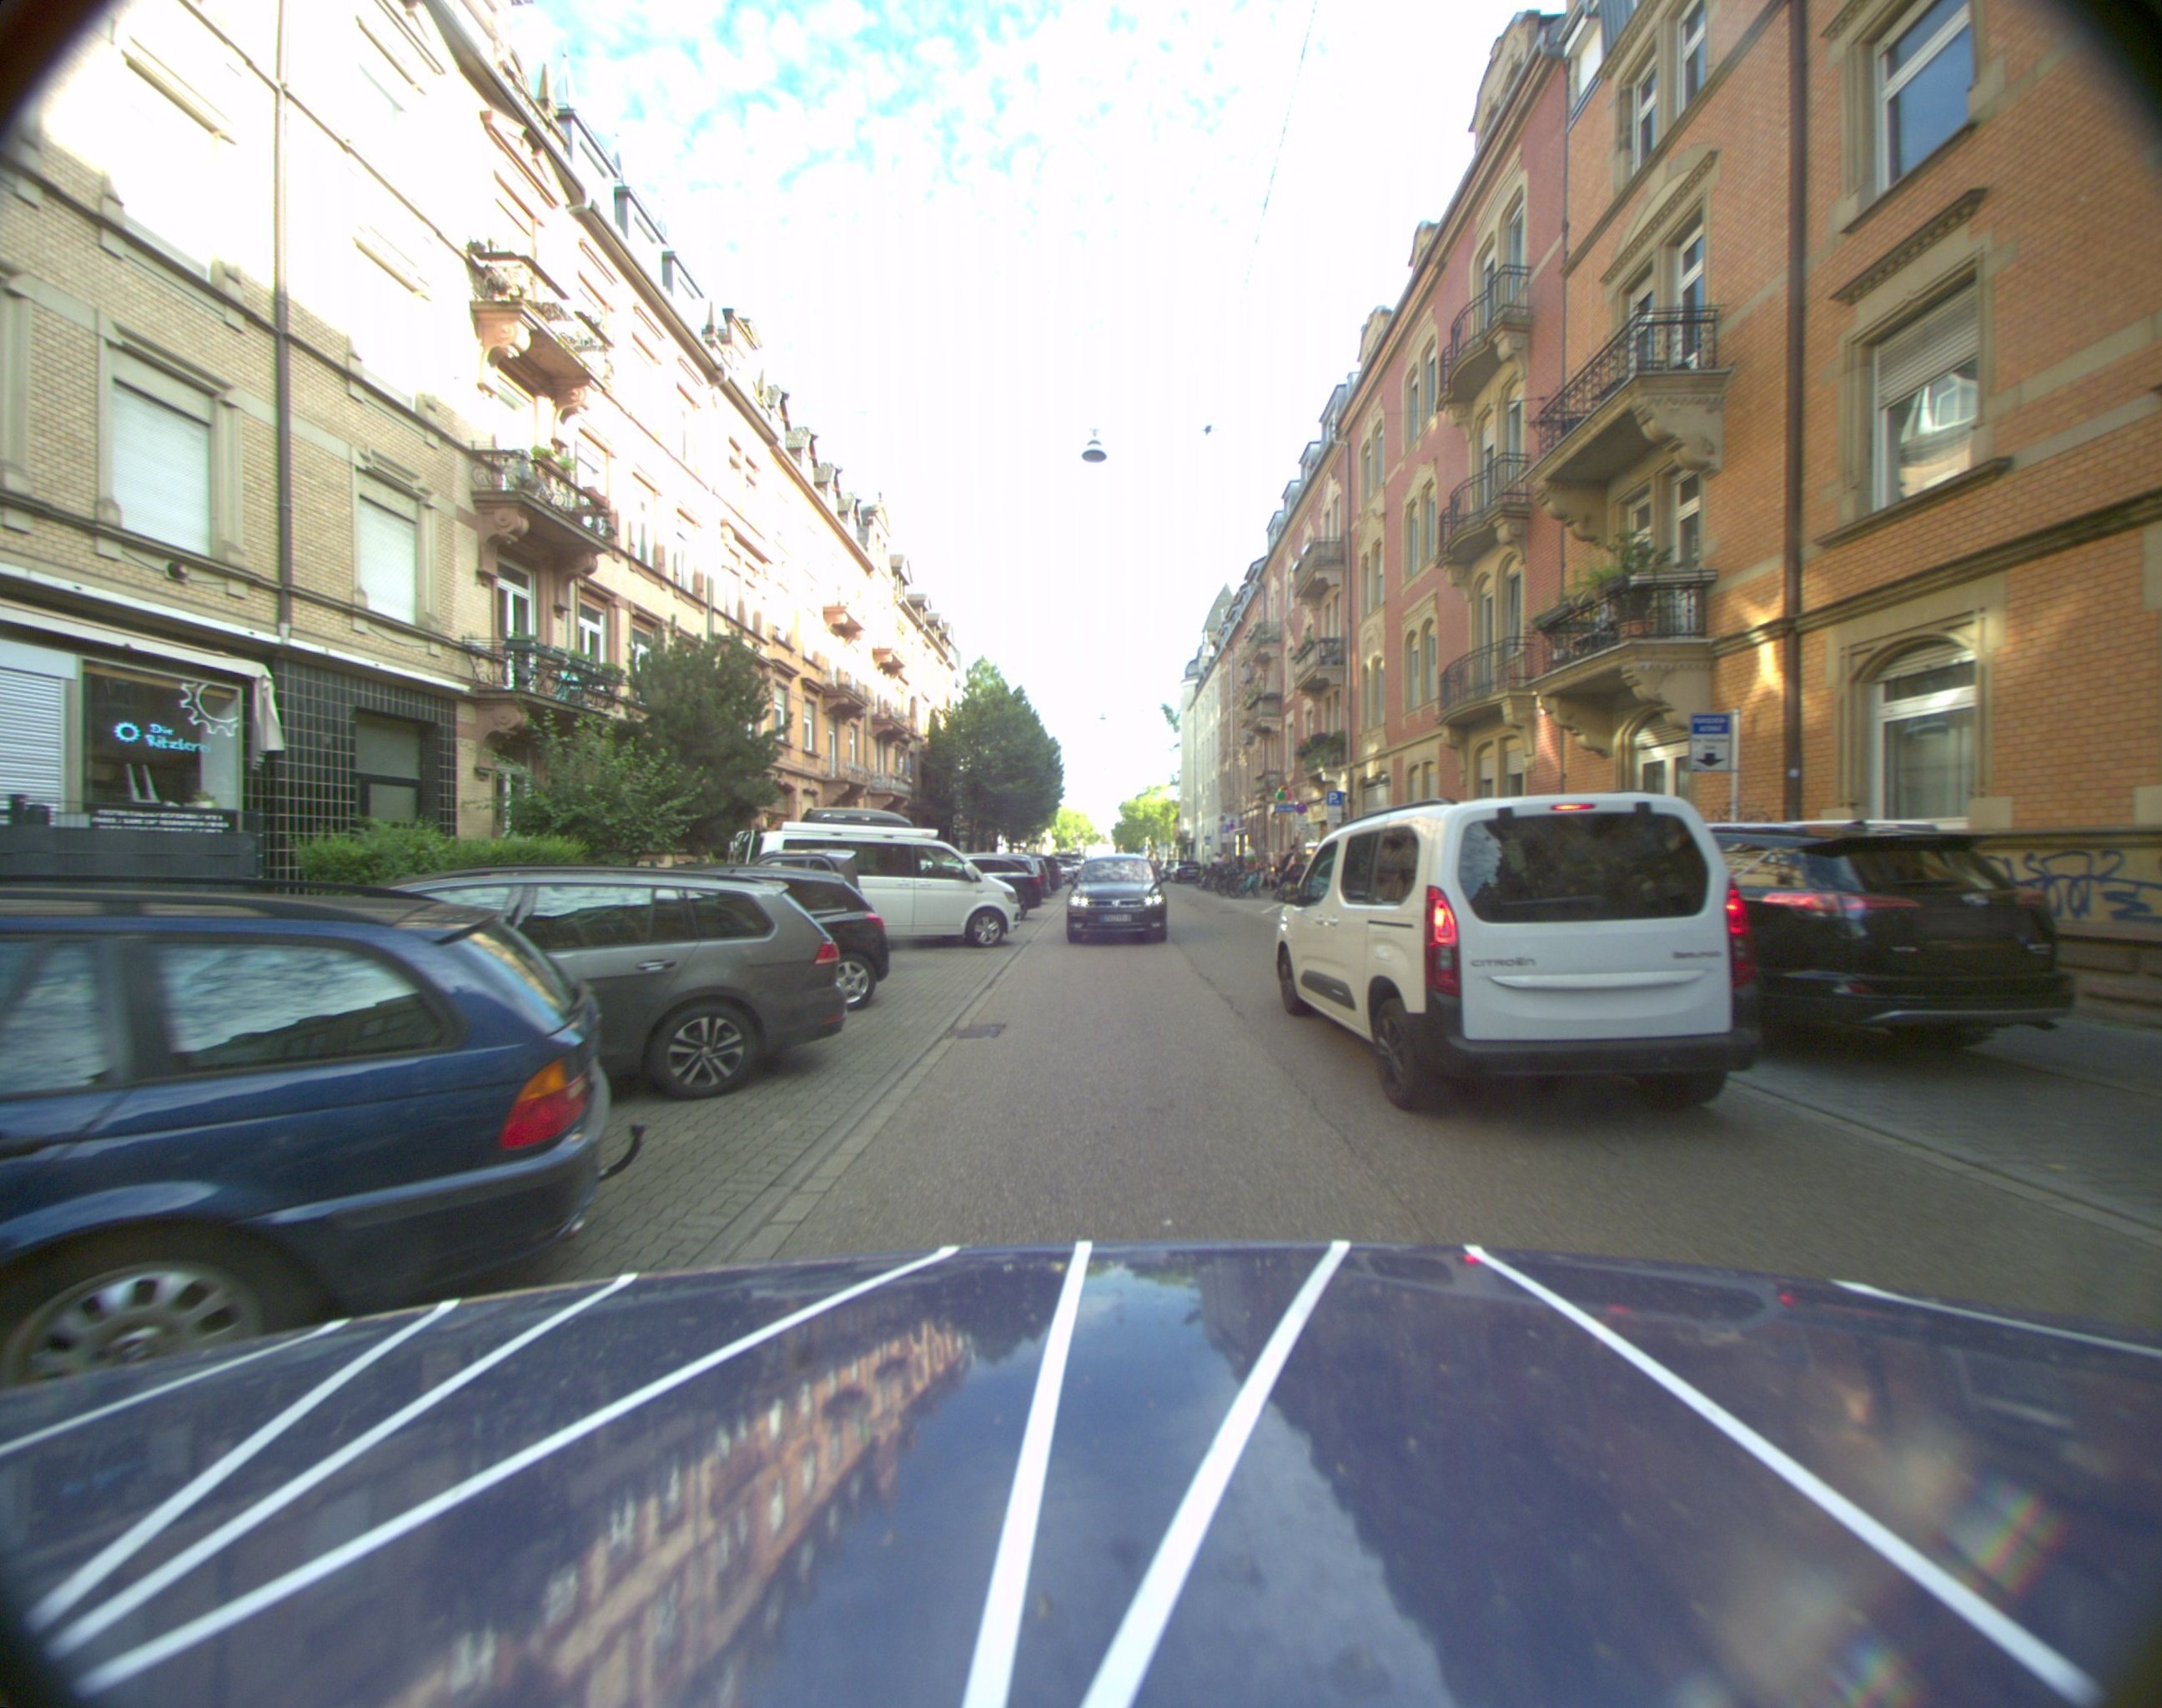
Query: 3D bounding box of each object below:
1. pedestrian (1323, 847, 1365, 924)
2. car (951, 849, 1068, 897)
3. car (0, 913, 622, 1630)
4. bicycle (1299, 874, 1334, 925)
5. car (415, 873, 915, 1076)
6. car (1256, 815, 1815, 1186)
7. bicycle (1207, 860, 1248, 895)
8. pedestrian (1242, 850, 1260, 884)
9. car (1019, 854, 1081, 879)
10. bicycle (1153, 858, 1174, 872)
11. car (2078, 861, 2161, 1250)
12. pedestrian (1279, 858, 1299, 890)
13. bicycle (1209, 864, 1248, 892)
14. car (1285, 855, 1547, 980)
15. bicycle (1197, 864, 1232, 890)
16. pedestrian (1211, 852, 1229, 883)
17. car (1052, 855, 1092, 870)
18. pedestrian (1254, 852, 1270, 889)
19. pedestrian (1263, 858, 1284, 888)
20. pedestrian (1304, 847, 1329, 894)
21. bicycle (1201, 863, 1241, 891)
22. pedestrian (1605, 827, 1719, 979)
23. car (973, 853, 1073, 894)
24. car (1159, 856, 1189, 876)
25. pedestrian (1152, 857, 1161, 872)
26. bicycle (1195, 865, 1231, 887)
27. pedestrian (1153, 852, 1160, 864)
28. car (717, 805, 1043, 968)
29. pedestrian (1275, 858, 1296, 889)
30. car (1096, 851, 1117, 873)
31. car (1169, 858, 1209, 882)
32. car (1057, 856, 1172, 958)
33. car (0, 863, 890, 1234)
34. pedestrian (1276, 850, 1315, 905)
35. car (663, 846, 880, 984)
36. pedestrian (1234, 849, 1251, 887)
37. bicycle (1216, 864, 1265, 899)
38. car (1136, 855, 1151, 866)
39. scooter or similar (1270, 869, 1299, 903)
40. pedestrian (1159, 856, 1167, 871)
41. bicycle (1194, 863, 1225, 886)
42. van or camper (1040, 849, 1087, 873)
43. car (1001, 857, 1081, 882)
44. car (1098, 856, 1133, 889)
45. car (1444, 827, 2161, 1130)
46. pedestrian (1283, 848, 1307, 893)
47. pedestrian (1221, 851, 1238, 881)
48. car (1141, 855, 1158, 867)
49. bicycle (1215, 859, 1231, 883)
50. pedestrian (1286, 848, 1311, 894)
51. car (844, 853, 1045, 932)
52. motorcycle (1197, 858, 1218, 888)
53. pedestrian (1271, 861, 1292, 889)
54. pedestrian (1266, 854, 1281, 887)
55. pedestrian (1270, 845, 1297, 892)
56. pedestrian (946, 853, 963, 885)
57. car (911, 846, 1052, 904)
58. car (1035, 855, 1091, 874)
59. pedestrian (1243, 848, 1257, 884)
[{"bbox_3d":[6.004,0.709,17.342,0.566,1.699,0.666,-2,1,-33],"label":"pedestrian"},{"bbox_3d":[-2.897,0.785,31.027,4.411,1.812,1.751,2,0,-30],"label":"car"},{"bbox_3d":[-3.793,0.943,1.874,4.477,1.455,1.875,2,-1,-32],"label":"car"},{"bbox_3d":[5.633,1.062,18.119,0.482,1.053,1.907,-2,0,26],"label":"bicycle"},{"bbox_3d":[-3.880,0.939,7.520,4.003,1.450,1.746,1,-1,-39],"label":"car"},{"bbox_3d":[2.744,0.738,5.974,1.922,1.817,4.439,-1,0,3],"label":"car"},{"bbox_3d":[5.837,0.928,30.292,1.680,1.314,0.526,-2,0,-34],"label":"bicycle"},{"bbox_3d":[8.747,0.662,39.016,0.688,1.749,0.667,-1,0,32],"label":"pedestrian"},{"bbox_3d":[-2.170,0.877,53.335,4.007,1.689,1.848,1,-1,-33],"label":"car"},{"bbox_3d":[7.521,1.012,69.433,1.872,1.168,0.688,-1,0,4],"label":"bicycle"},{"bbox_3d":[5.224,0.805,1.016,1.998,1.536,4.427,0,0,1],"label":"car"},{"bbox_3d":[8.637,0.820,31.628,0.702,1.306,0.373,-1,1,-2],"label":"pedestrian"},{"bbox_3d":[6.394,1.018,32.872,1.741,1.114,0.554,-2,0,-34],"label":"bicycle"},{"bbox_3d":[5.031,0.816,12.425,1.830,1.569,5.262,-1,0,-2],"label":"car"},{"bbox_3d":[5.984,1.031,34.090,1.573,1.114,0.589,-2,0,-34],"label":"bicycle"},{"bbox_3d":[8.161,0.808,44.593,0.761,1.808,0.667,-1,0,32],"label":"pedestrian"},{"bbox_3d":[-0.988,0.964,86.011,4.006,1.663,1.923,-1,0,-30],"label":"car"},{"bbox_3d":[8.059,0.733,33.864,0.554,1.607,0.584,-1,0,2],"label":"pedestrian"},{"bbox_3d":[8.413,0.823,33.282,0.725,1.306,0.606,-1,0,-2],"label":"pedestrian"},{"bbox_3d":[8.624,0.594,27.860,0.665,1.686,0.763,-2,0,2],"label":"pedestrian"},{"bbox_3d":[6.181,1.003,33.467,1.794,1.193,0.589,-2,0,-34],"label":"bicycle"},{"bbox_3d":[7.194,0.586,9.456,0.758,1.797,0.863,-2,0,6],"label":"pedestrian"},{"bbox_3d":[-2.546,0.863,33.665,4.007,1.730,1.835,1,0,-29],"label":"car"},{"bbox_3d":[6.886,0.893,56.639,1.674,1.407,4.011,-1,0,-2],"label":"car"},{"bbox_3d":[7.066,0.974,71.155,0.738,1.341,0.644,-1,0,4],"label":"pedestrian"},{"bbox_3d":[6.566,1.096,37.791,1.683,1.024,0.410,-1,0,22],"label":"bicycle"},{"bbox_3d":[10.220,0.544,103.060,0.845,1.699,0.879,-1,0,2],"label":"pedestrian"},{"bbox_3d":[-3.417,0.504,13.299,5.169,2.391,1.913,1,0,-31],"label":"car"},{"bbox_3d":[8.620,0.819,32.077,0.719,1.306,0.439,-1,1,-2],"label":"pedestrian"},{"bbox_3d":[2.382,0.724,71.056,1.810,1.914,4.001,-2,0,3],"label":"car"},{"bbox_3d":[6.578,0.918,46.779,1.816,1.343,5.115,-1,0,1],"label":"car"},{"bbox_3d":[0.777,0.893,14.849,1.873,1.644,4.388,-1,0,6],"label":"car"},{"bbox_3d":[-3.729,0.885,4.778,4.479,1.468,1.884,3,-2,-37],"label":"car"},{"bbox_3d":[6.676,0.721,23.687,0.913,1.651,0.827,-2,0,-6],"label":"pedestrian"},{"bbox_3d":[-4.118,0.806,10.231,2.472,1.656,1.344,3,-2,-24],"label":"car"},{"bbox_3d":[7.996,0.685,37.614,0.646,1.881,0.602,-1,1,32],"label":"pedestrian"},{"bbox_3d":[5.925,0.999,28.123,0.806,1.152,2.274,-1,0,39],"label":"bicycle"},{"bbox_3d":[8.651,0.852,105.645,1.911,1.412,4.000,-1,0,2],"label":"car"},{"bbox_3d":[6.599,1.036,24.669,0.607,1.049,0.922,-2,0,-3],"label":"scooter or similar"},{"bbox_3d":[7.594,0.907,70.558,0.689,1.365,0.740,-1,0,6],"label":"pedestrian"},{"bbox_3d":[6.532,1.045,38.592,1.577,1.110,0.375,-1,1,41],"label":"bicycle"},{"bbox_3d":[-1.650,0.662,72.160,4.006,2.166,1.996,-1,0,-28],"label":"van or camper"},{"bbox_3d":[-2.443,0.962,47.061,4.620,1.443,1.788,2,0,-30],"label":"car"},{"bbox_3d":[1.910,0.972,41.669,1.810,1.622,4.001,-2,0,3],"label":"car"},{"bbox_3d":[5.404,0.728,6.750,1.878,1.671,4.894,-1,-1,-2],"label":"car"},{"bbox_3d":[8.196,0.634,29.129,0.566,1.686,0.646,-2,0,-29],"label":"pedestrian"},{"bbox_3d":[8.808,0.717,45.207,0.761,1.749,0.667,-1,0,32],"label":"pedestrian"},{"bbox_3d":[8.314,0.854,93.067,1.828,1.477,4.170,-1,0,2],"label":"car"},{"bbox_3d":[6.695,0.798,35.747,0.579,1.084,1.740,-1,0,15],"label":"bicycle"},{"bbox_3d":[8.158,0.643,28.531,0.667,1.686,0.584,-2,0,-29],"label":"pedestrian"},{"bbox_3d":[-3.335,0.867,18.873,4.465,1.722,1.995,-1,0,-33],"label":"car"},{"bbox_3d":[6.019,0.881,35.990,0.708,1.376,2.026,-1,0,16],"label":"motorcycle"},{"bbox_3d":[8.606,0.886,32.599,0.710,1.189,0.586,-1,0,-2],"label":"pedestrian"},{"bbox_3d":[8.675,0.731,34.309,0.605,1.461,0.726,-1,0,12],"label":"pedestrian"},{"bbox_3d":[8.061,0.567,30.217,0.764,1.843,0.664,-2,0,-29],"label":"pedestrian"},{"bbox_3d":[-6.578,0.760,39.582,0.733,1.625,0.833,1,1,-1],"label":"pedestrian"},{"bbox_3d":[-3.419,0.757,26.814,4.648,1.774,1.811,2,-2,1],"label":"car"},{"bbox_3d":[-1.660,0.957,69.617,4.816,1.535,1.866,2,0,-30],"label":"car"},{"bbox_3d":[8.358,0.591,37.616,0.605,1.741,0.726,-1,1,12],"label":"pedestrian"}]
